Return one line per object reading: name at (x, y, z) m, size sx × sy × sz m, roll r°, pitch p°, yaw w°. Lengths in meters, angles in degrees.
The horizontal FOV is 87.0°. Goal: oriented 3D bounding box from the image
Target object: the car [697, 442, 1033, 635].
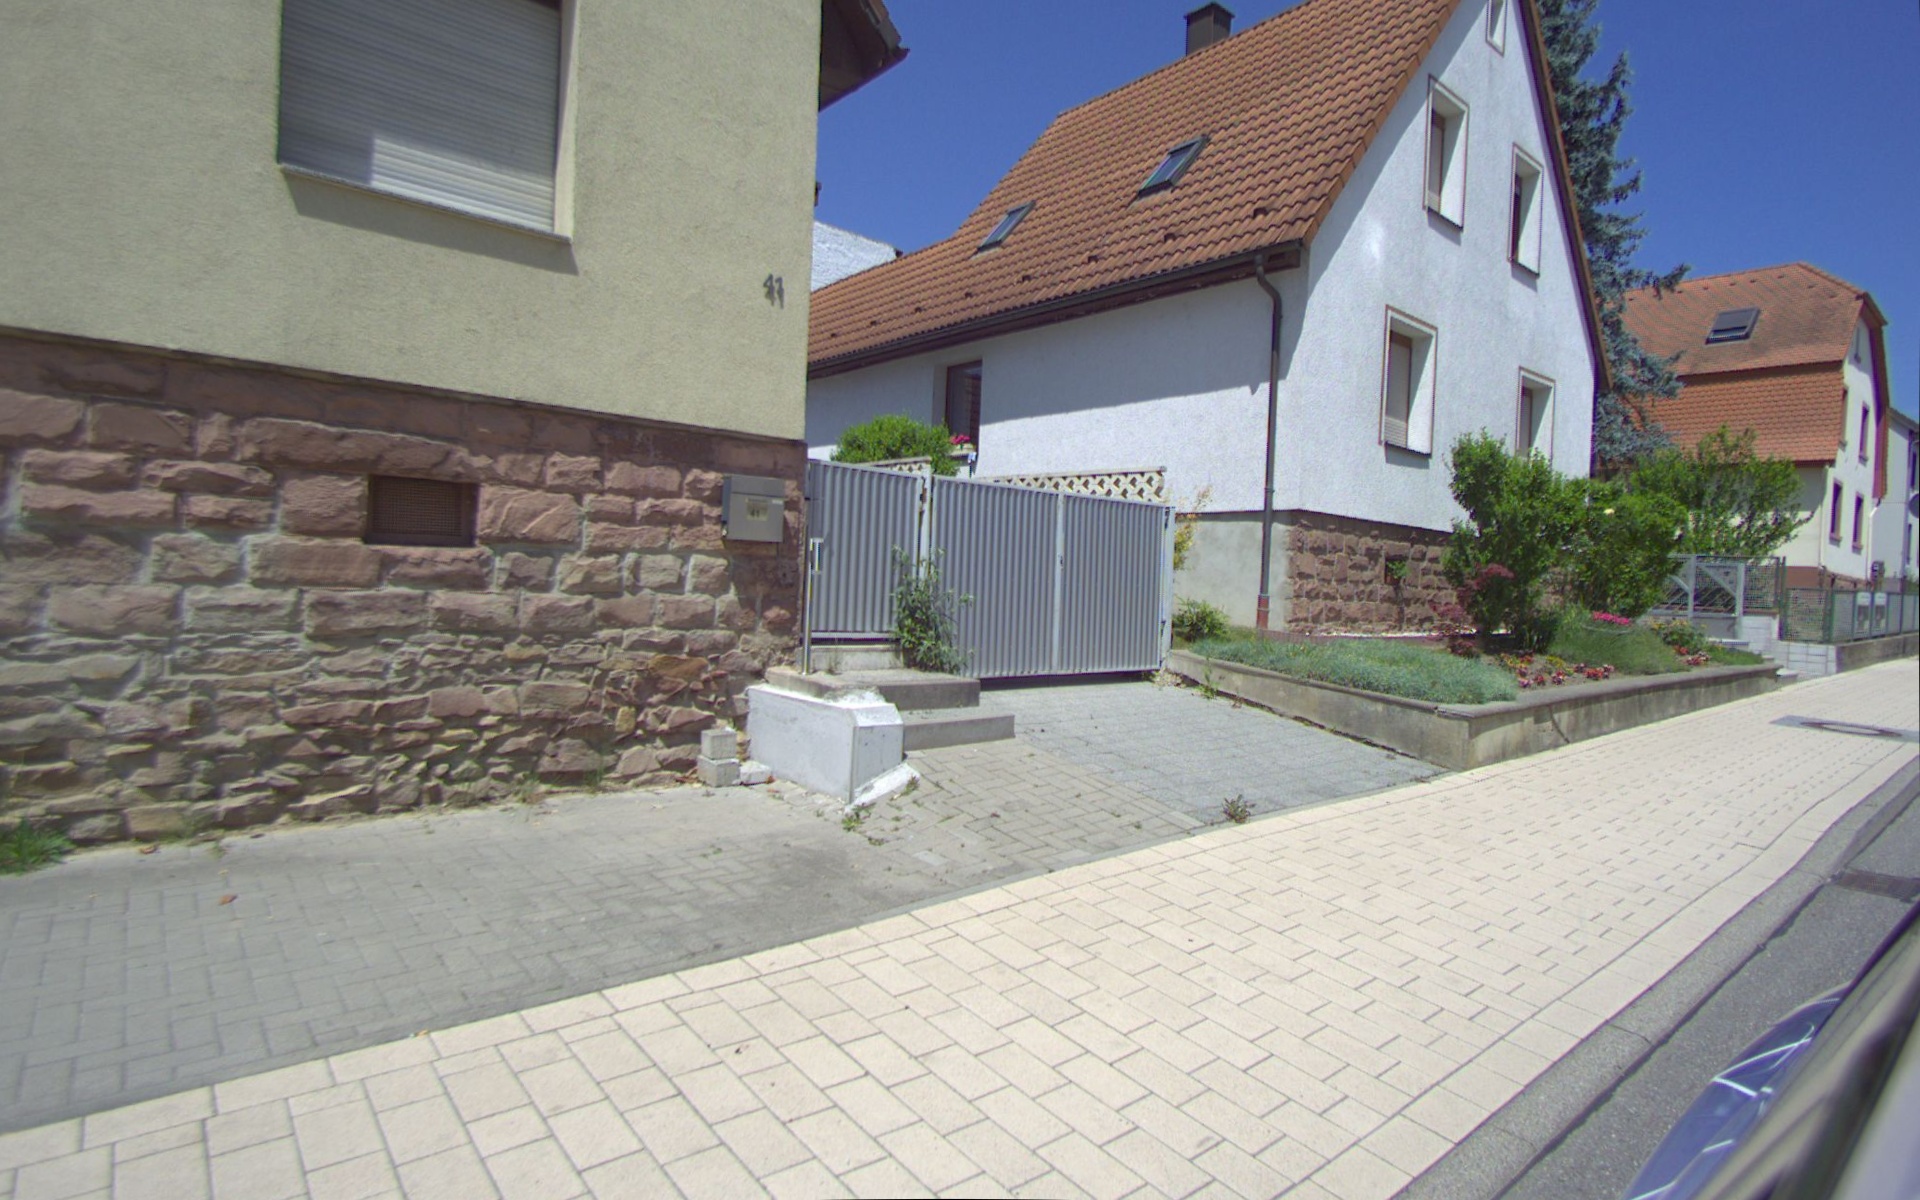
car at (-1.196, -0.580, 11.112) m, size 1.661 × 1.727 × 3.993 m, roll 0°, pitch 1°, yaw -41°
